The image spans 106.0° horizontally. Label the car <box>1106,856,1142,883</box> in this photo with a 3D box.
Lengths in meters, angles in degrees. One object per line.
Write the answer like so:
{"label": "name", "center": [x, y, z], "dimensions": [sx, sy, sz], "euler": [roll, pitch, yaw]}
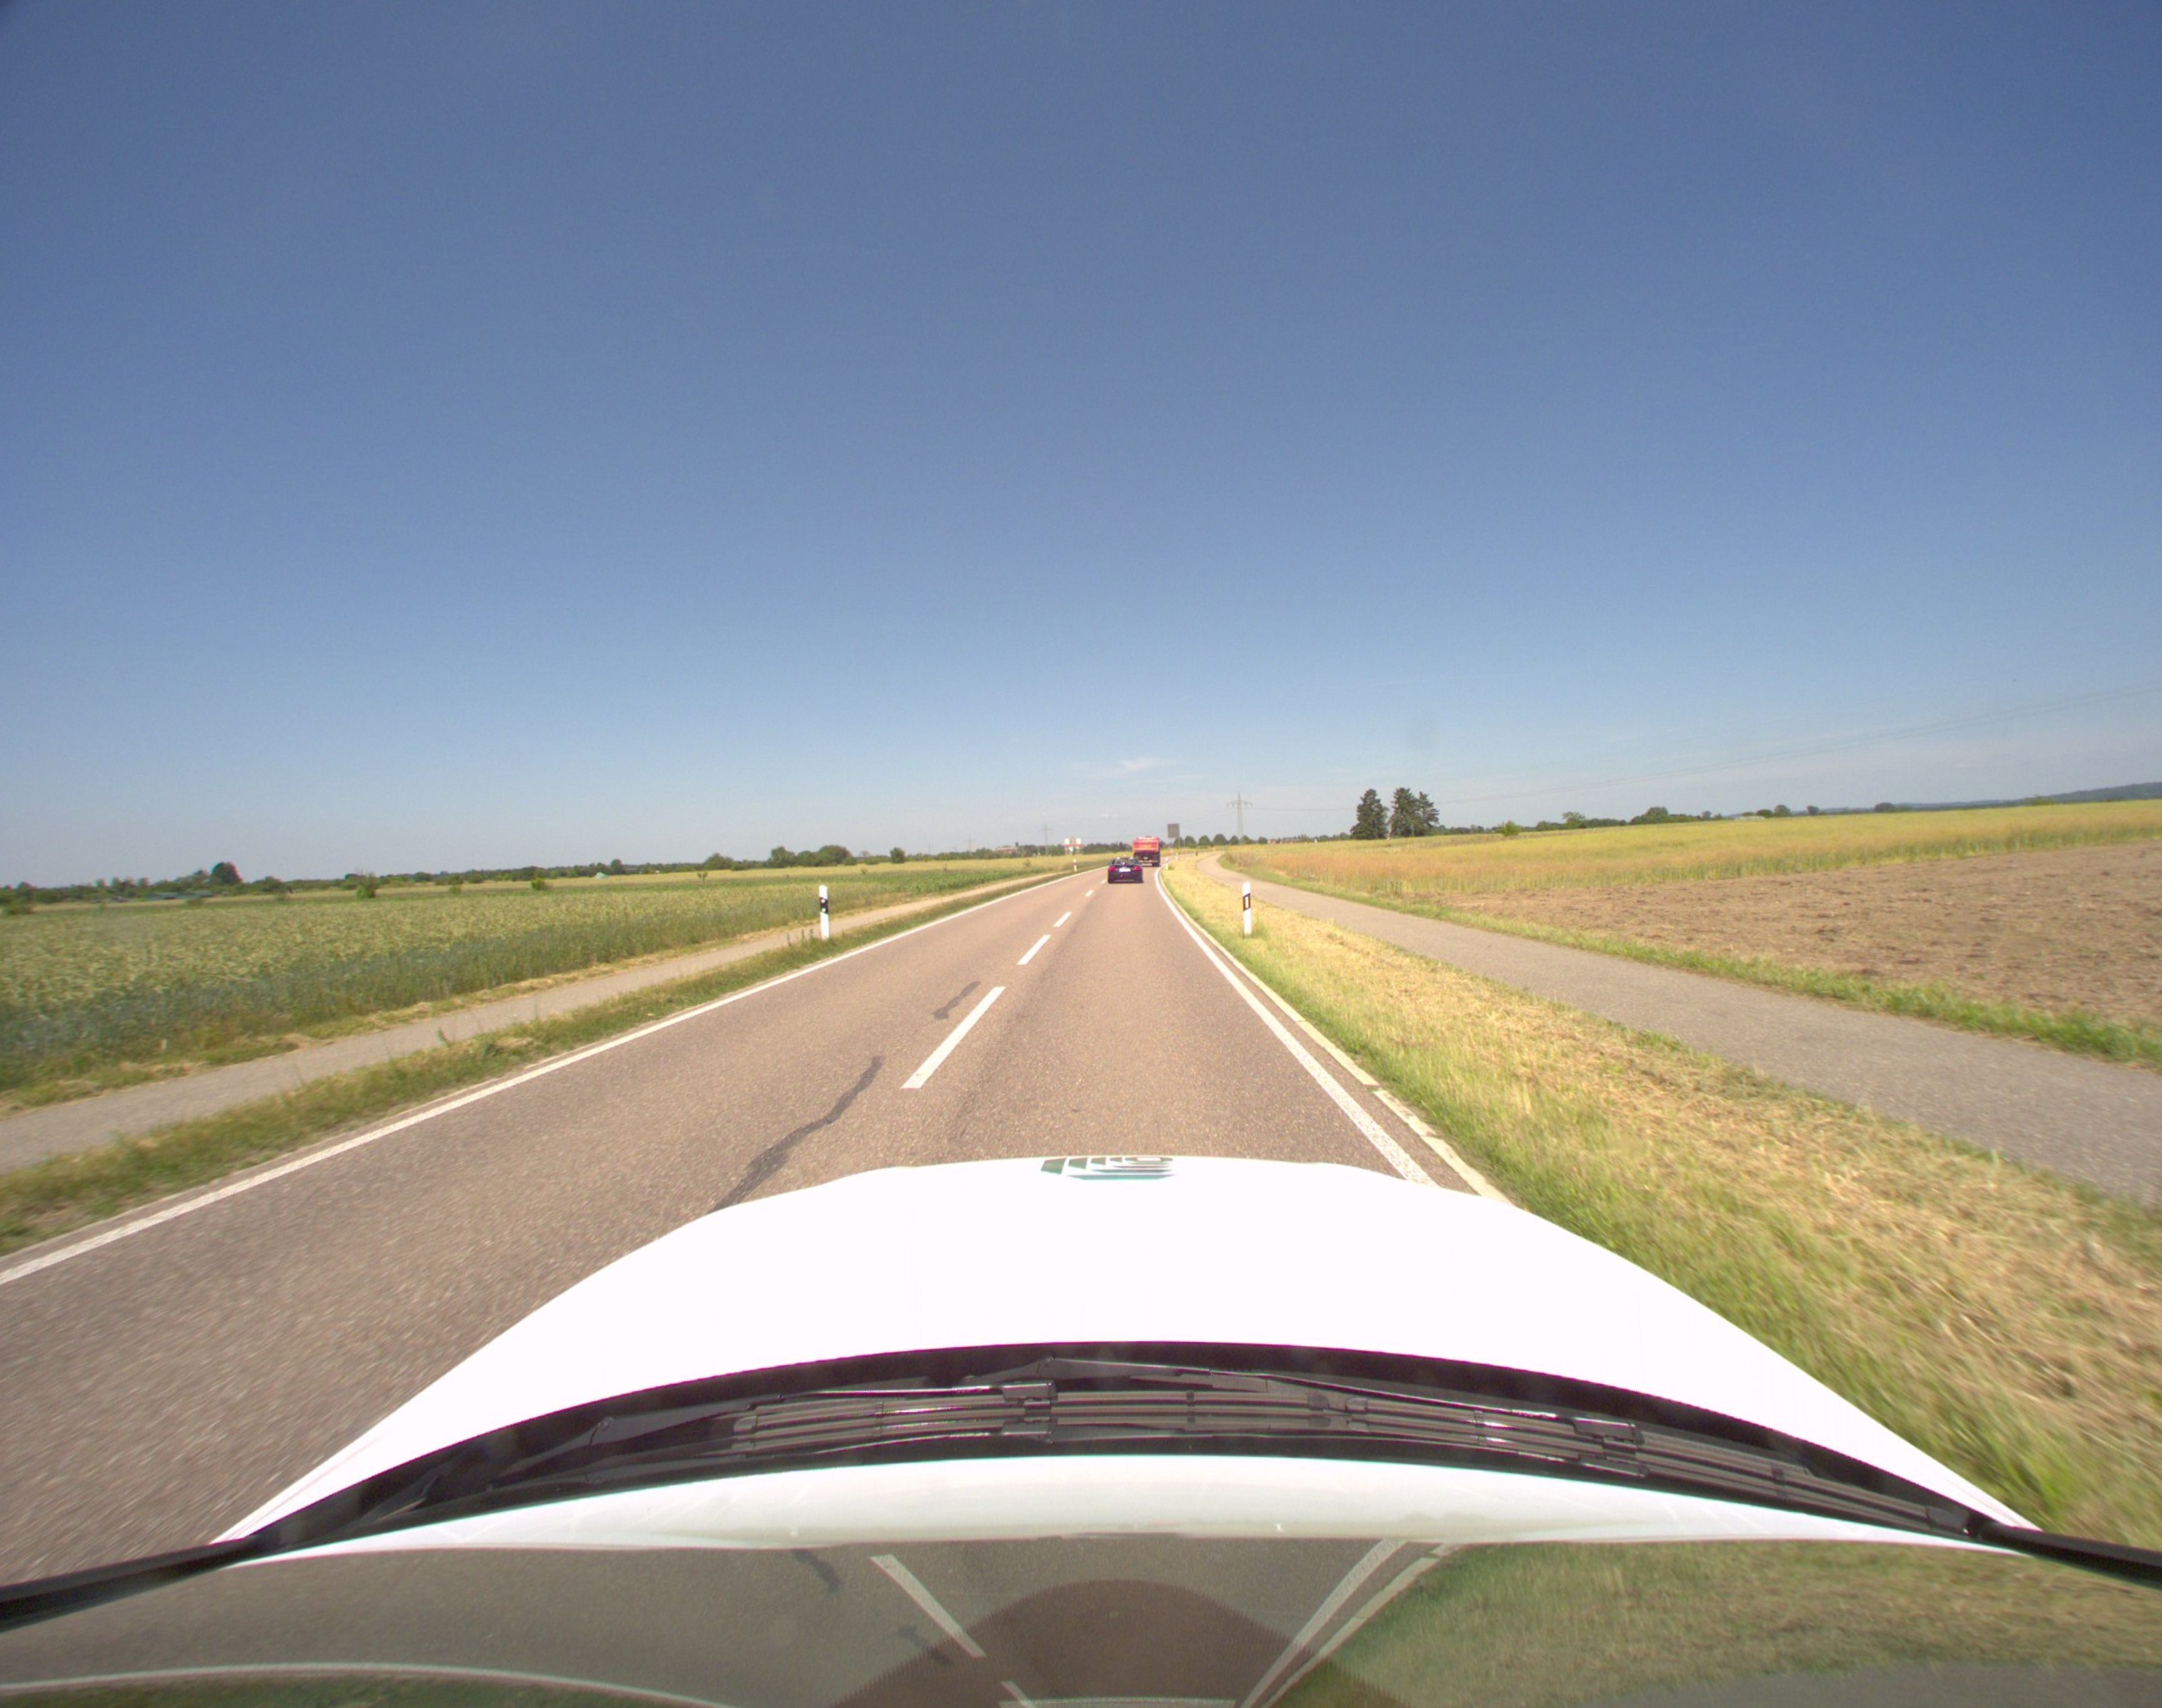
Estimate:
{"label": "car", "center": [2.237, 0.754, 41.647], "dimensions": [1.736, 1.280, 4.005], "euler": [-1, 0, 4]}

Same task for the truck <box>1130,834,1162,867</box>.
{"label": "truck", "center": [6.600, -0.349, 82.053], "dimensions": [2.923, 3.089, 7.209], "euler": [-2, -1, 7]}
